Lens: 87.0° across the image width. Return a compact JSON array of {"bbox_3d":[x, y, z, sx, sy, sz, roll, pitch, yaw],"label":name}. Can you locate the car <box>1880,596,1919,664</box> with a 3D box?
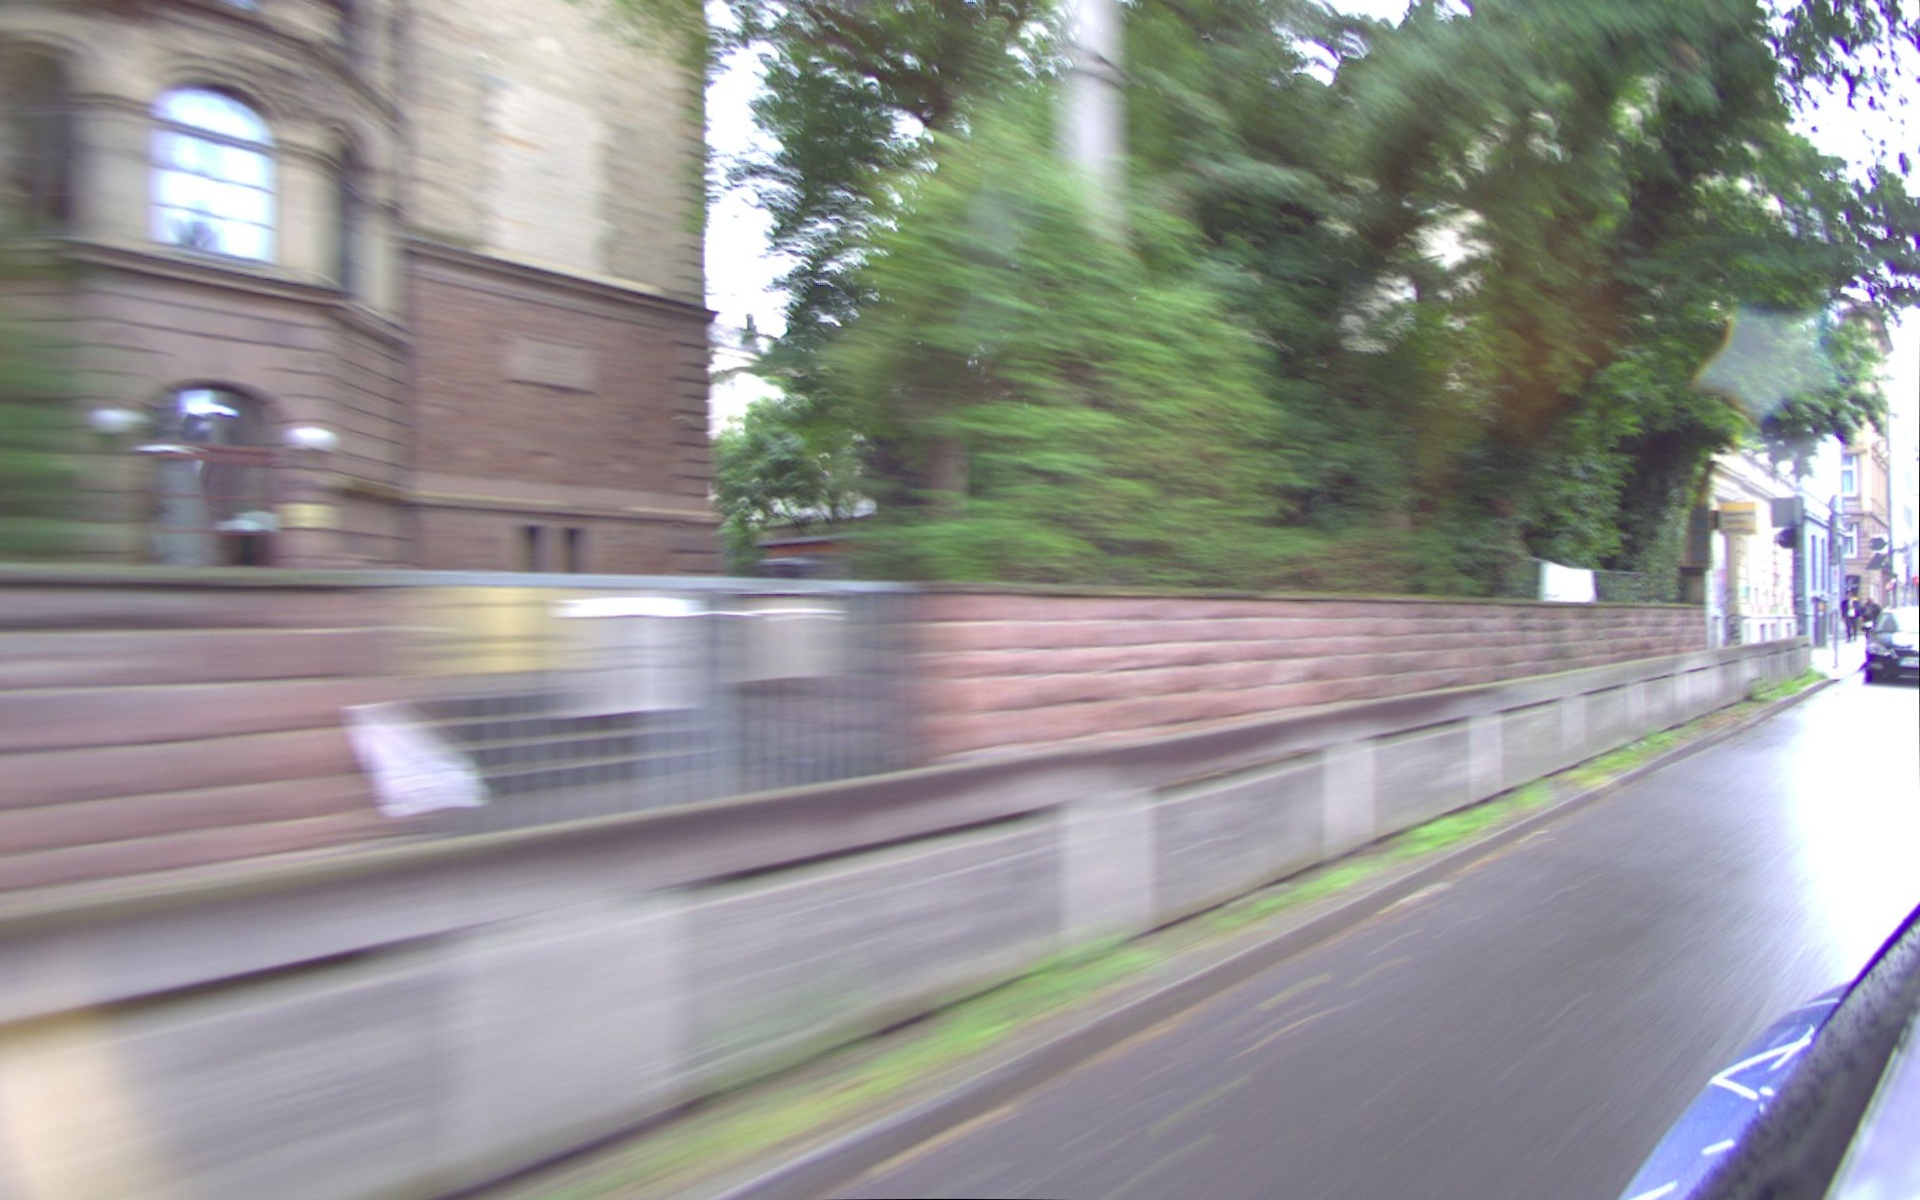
[{"bbox_3d":[23.632,0.682,24.566,1.755,1.549,4.264,-1,-1,44],"label":"car"}]

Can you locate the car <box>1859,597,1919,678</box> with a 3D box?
[{"bbox_3d":[19.861,0.711,20.735,4.173,1.549,1.785,0,-1,-43],"label":"car"}]

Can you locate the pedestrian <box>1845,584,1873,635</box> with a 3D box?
[{"bbox_3d":[34.832,0.372,39.224,0.763,1.938,0.578,-2,-2,44],"label":"pedestrian"}]

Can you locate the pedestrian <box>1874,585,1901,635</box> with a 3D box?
[{"bbox_3d":[35.422,0.384,38.633,0.714,1.914,0.590,-2,-2,44],"label":"pedestrian"}]
